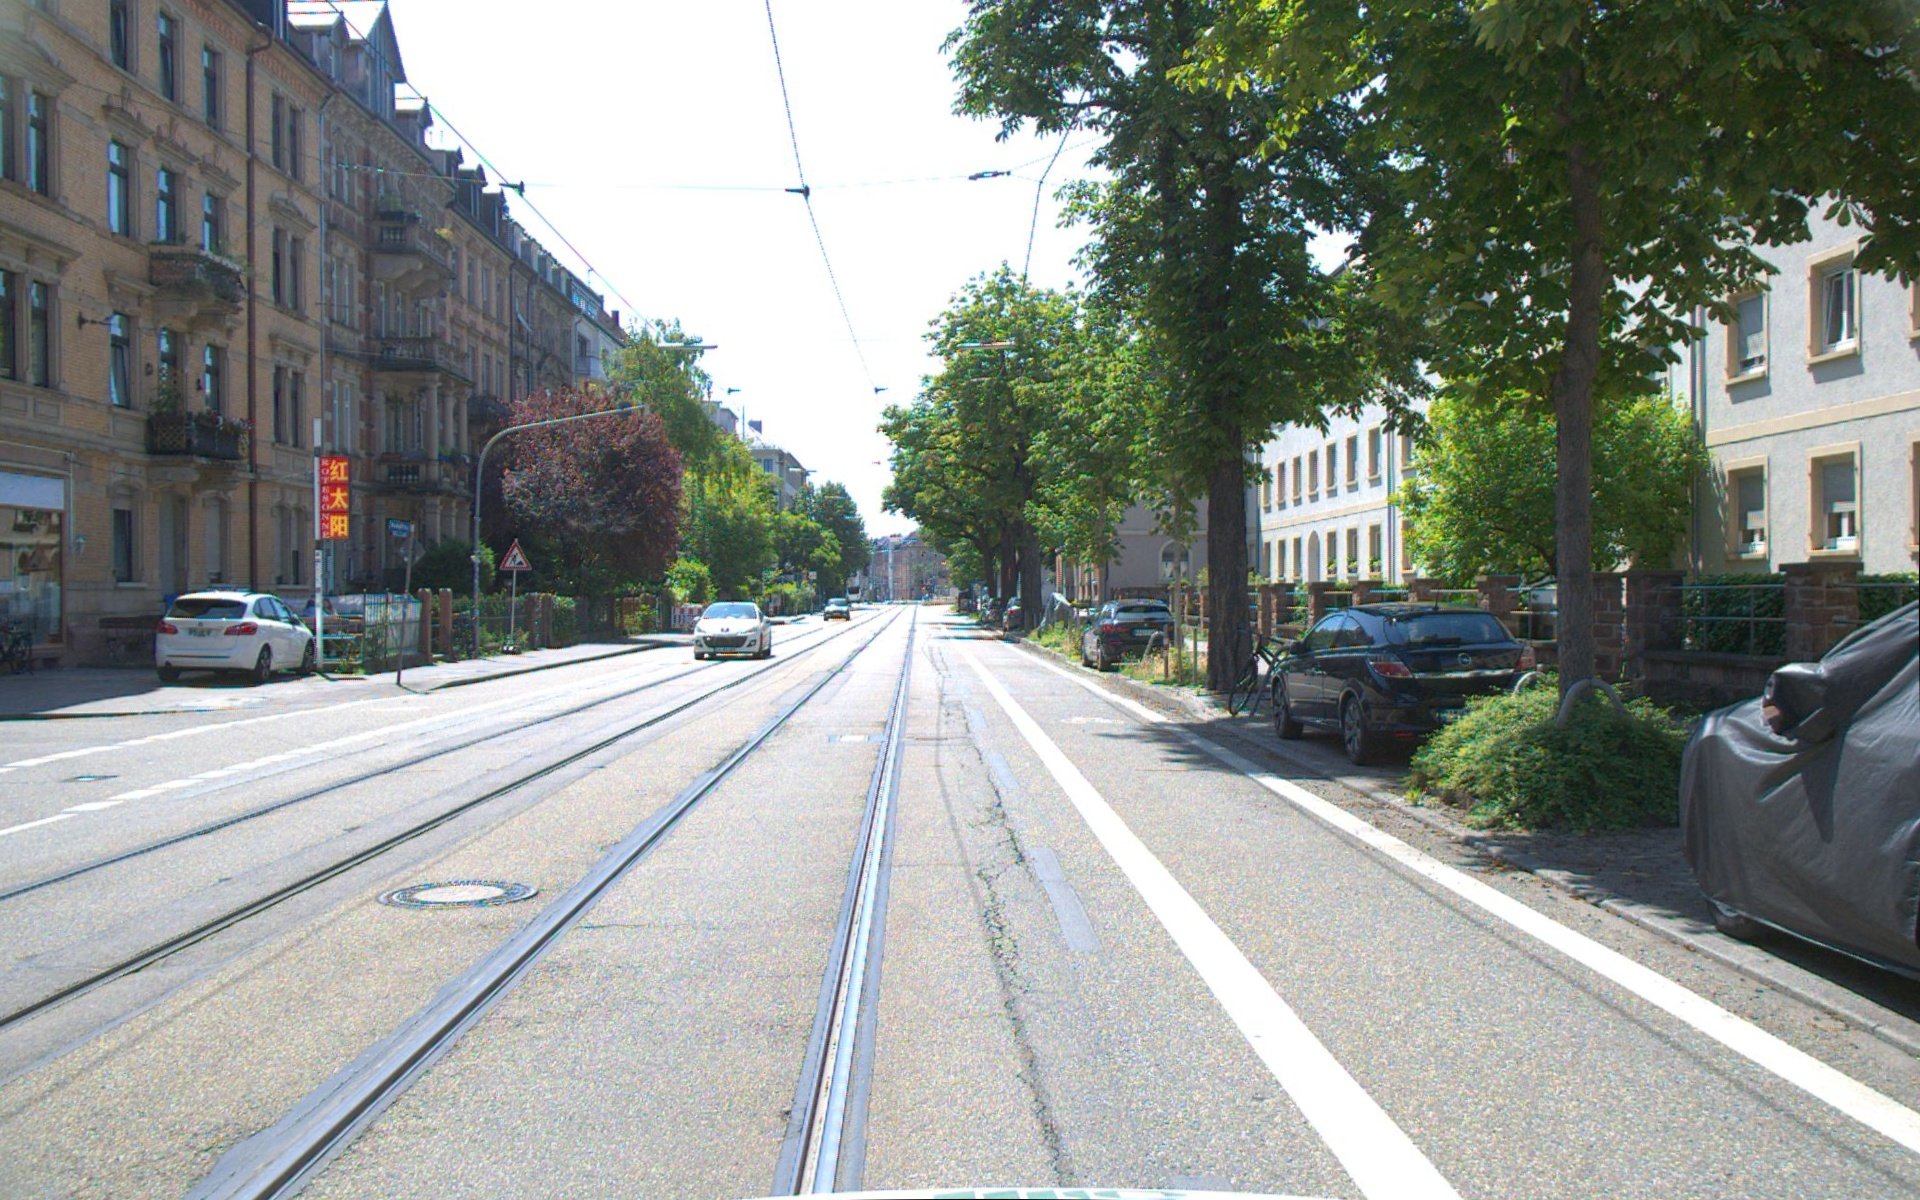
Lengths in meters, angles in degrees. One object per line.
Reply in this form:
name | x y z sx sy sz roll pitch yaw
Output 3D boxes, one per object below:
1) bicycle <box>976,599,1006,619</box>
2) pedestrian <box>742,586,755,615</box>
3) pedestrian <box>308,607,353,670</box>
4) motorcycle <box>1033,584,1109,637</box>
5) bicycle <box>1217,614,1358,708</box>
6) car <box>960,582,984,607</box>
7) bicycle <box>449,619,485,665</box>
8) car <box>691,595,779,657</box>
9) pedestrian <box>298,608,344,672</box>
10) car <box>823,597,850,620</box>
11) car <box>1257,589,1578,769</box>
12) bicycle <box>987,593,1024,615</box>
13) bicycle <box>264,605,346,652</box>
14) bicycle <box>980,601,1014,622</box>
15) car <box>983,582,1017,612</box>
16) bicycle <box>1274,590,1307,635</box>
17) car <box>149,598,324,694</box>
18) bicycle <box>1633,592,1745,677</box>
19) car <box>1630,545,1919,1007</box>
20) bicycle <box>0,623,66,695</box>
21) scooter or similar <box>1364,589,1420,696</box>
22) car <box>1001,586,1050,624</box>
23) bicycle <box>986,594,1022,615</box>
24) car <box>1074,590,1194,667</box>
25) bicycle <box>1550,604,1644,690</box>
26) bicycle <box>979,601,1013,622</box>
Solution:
bicycle | 1.883 0.566 100.710 1.779 1.133 0.493 -2 -1 -2
pedestrian | -12.544 0.030 98.061 0.736 1.657 0.832 -1 0 -8
pedestrian | -13.889 0.849 36.525 0.696 1.320 0.710 -3 1 -6
motorcycle | 3.406 0.321 51.079 2.279 1.567 0.864 -1 1 42
bicycle | 4.116 0.759 20.822 1.622 1.097 0.605 -2 1 -9
car | 1.044 -0.519 145.634 1.953 2.071 4.696 -2 1 -2
bicycle | -11.815 0.998 39.697 0.445 1.021 1.805 -1 0 -5
car | -5.694 0.629 42.319 1.720 1.449 3.999 -2 0 -1
pedestrian | -13.811 0.864 35.771 0.696 1.320 0.710 -3 1 -6
car | -8.289 0.533 111.205 1.652 1.480 3.747 -1 0 -2
car | 4.293 0.656 16.249 1.661 1.443 4.354 -2 1 -4
bicycle | 2.395 0.199 86.892 1.922 1.082 0.599 -1 0 5
bicycle | -14.834 0.639 37.476 1.670 1.021 0.474 -1 0 1
bicycle | 2.116 0.684 95.590 1.923 1.133 0.598 -2 -1 0
car | 2.175 -0.162 91.243 1.589 1.473 3.808 -4 0 -2
bicycle | 8.563 0.318 42.872 0.488 1.121 1.807 -2 1 1
car | -13.263 0.791 30.579 1.830 1.628 4.096 0 0 -7
bicycle | 9.975 0.448 22.709 0.469 1.097 1.921 -1 0 -7
car | 4.432 0.609 6.241 1.907 1.679 4.881 -2 1 1
bicycle | -17.105 1.062 29.919 0.625 1.208 2.145 -1 1 2
scooter or similar | 5.589 0.537 21.350 0.372 1.233 1.247 -1 5 28
car | 2.824 0.186 72.535 1.738 1.527 4.303 -3 1 -3
bicycle | 2.304 0.226 86.562 1.850 1.070 0.538 -1 0 5
car | 3.665 0.557 35.611 1.734 1.451 4.858 -2 1 -4
bicycle | 8.711 0.623 22.683 0.469 1.097 1.924 -1 0 -2
bicycle | 2.099 0.681 96.255 1.969 1.133 0.640 -2 -1 0
